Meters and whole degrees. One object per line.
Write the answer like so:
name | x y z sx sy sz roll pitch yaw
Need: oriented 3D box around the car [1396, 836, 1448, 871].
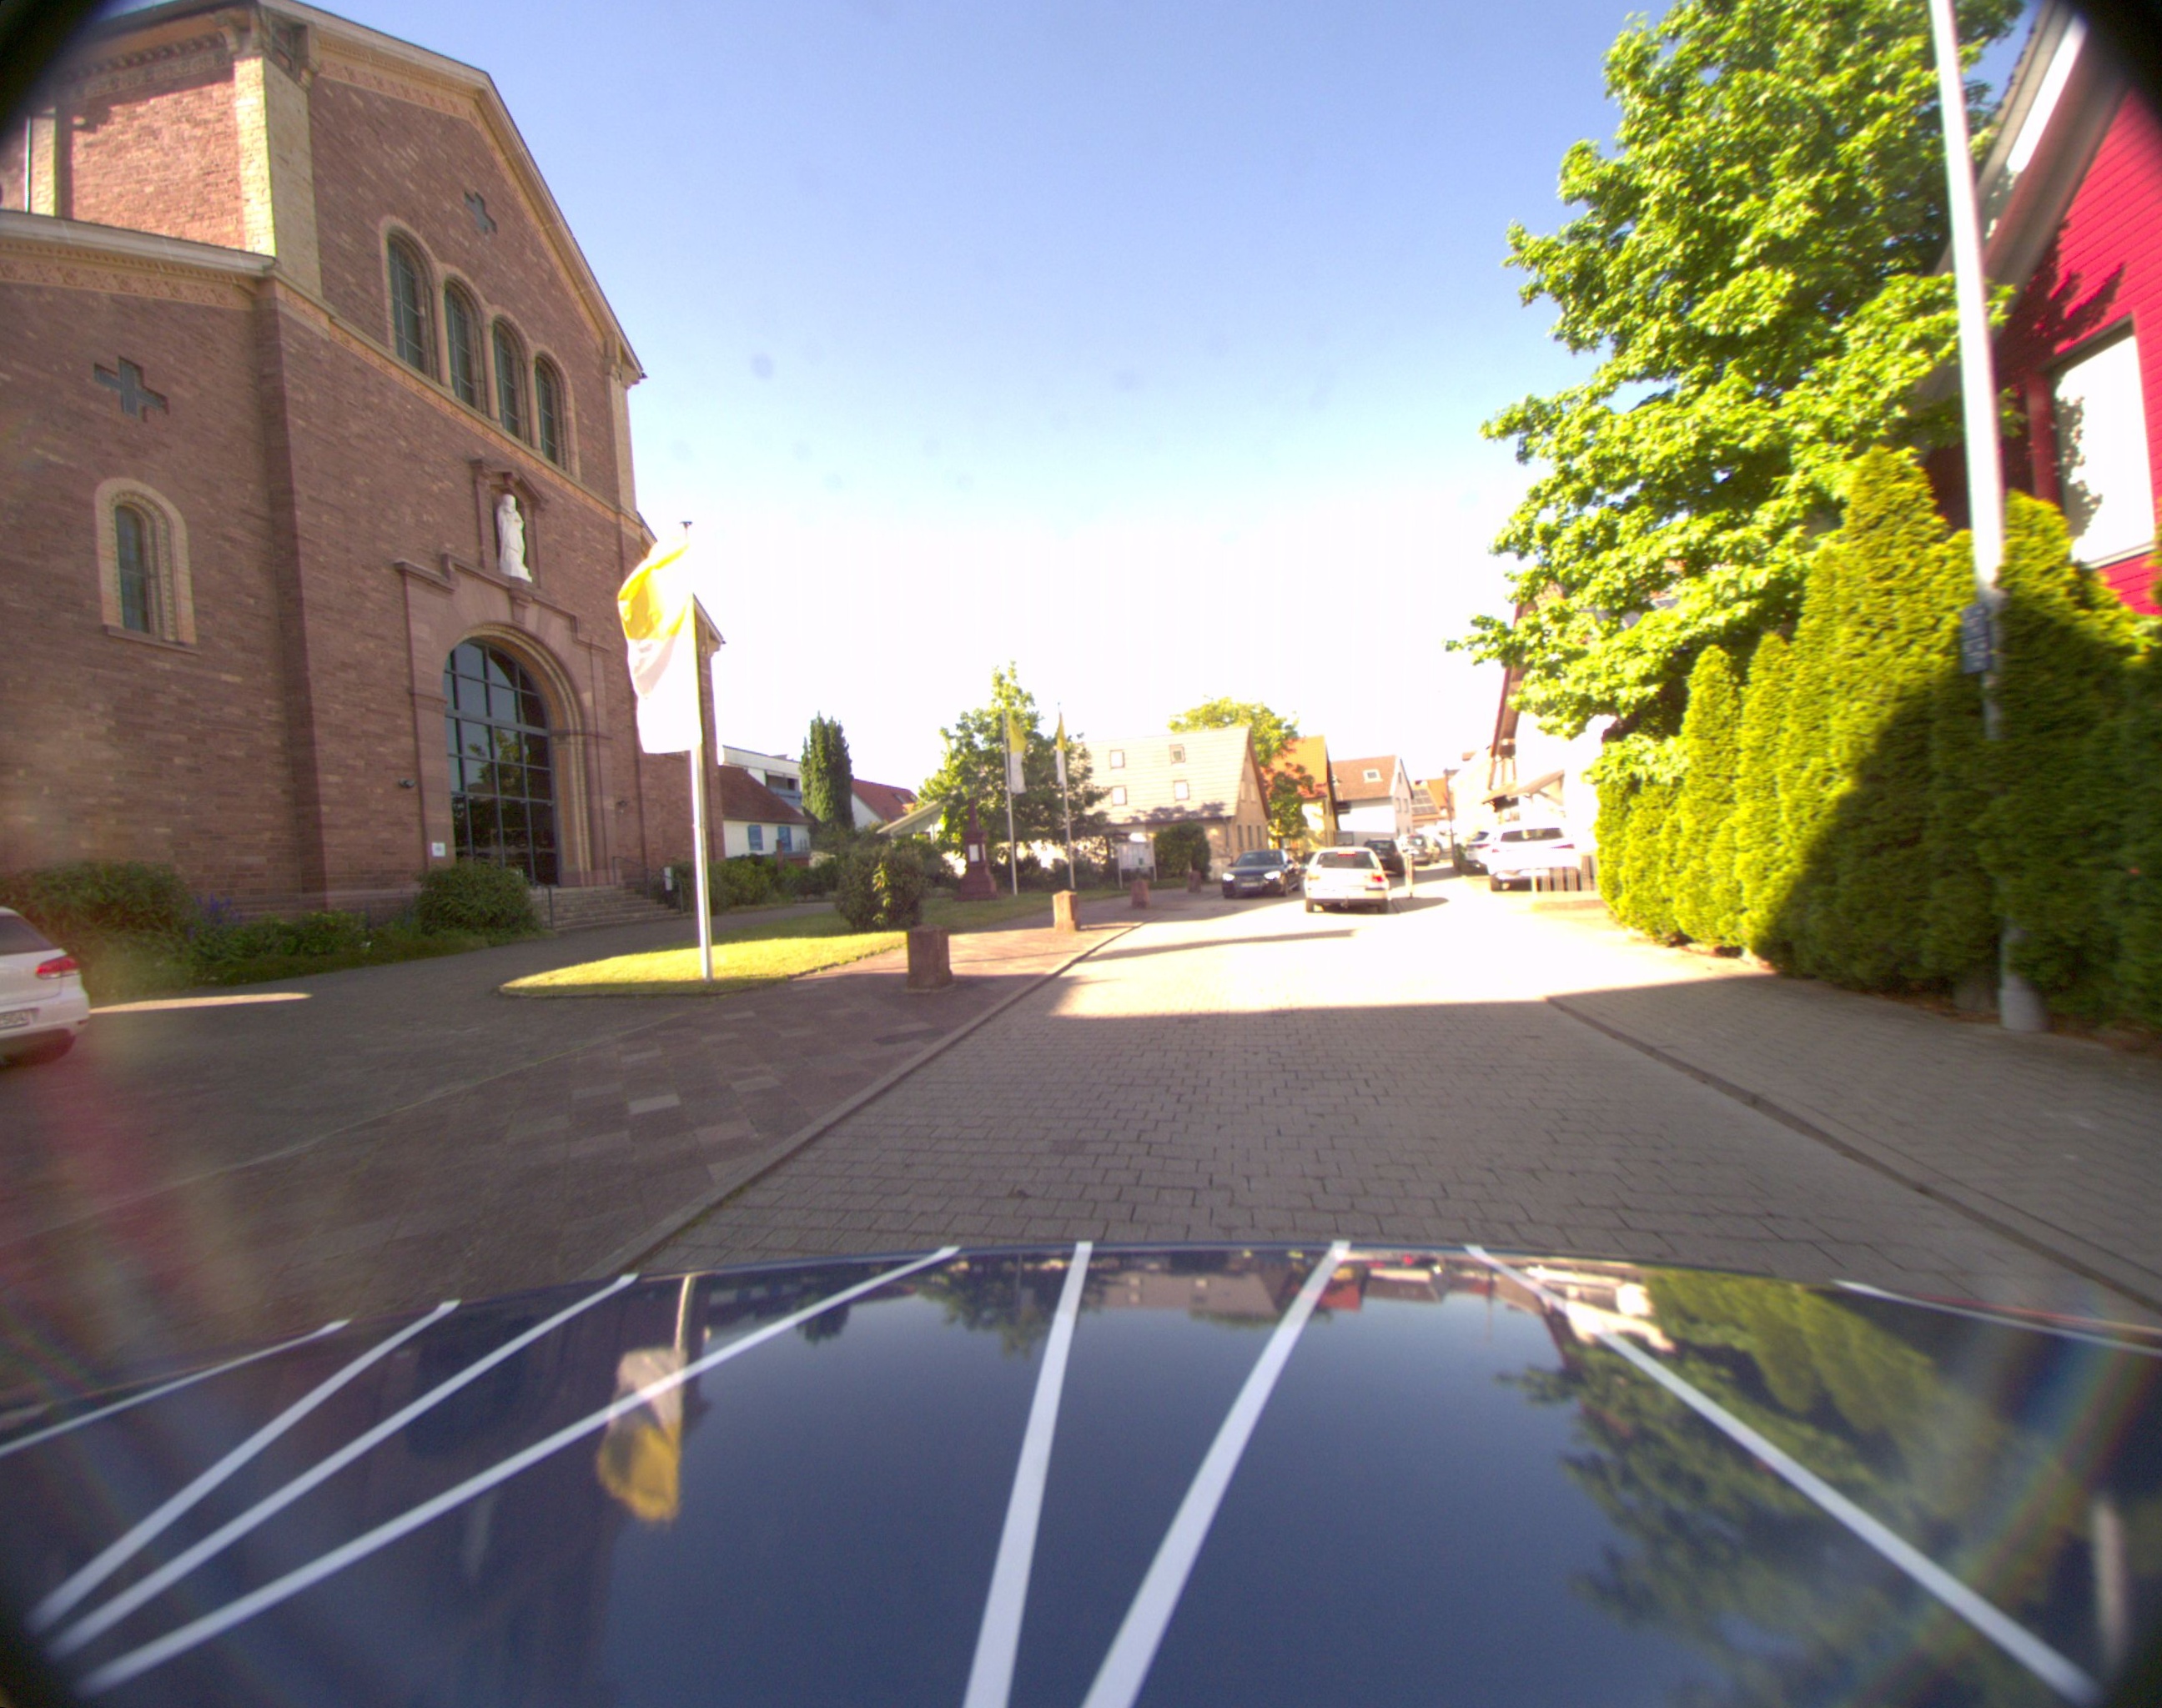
car | 19.192 -0.058 42.669 1.834 1.779 4.361 -5 -2 34

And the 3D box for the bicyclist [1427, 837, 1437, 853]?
bicyclist | 29.546 -0.731 63.922 0.581 1.312 0.609 -2 1 36

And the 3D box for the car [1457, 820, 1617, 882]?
car | 14.869 -0.084 25.009 3.994 1.579 2.002 -6 -1 13

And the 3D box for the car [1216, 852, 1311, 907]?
car | 5.697 0.739 23.302 1.804 1.469 4.351 -2 0 27

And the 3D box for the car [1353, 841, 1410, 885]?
car | 13.188 0.344 33.204 1.834 1.661 4.359 -3 0 27

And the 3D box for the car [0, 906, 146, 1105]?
car | -10.502 1.271 6.037 3.906 1.488 1.904 -1 2 4

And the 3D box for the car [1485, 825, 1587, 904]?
car | 11.083 0.192 18.548 1.819 1.586 4.453 -5 -1 31

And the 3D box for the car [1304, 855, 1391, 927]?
car | 6.040 0.755 17.566 1.673 1.394 3.896 0 1 16
